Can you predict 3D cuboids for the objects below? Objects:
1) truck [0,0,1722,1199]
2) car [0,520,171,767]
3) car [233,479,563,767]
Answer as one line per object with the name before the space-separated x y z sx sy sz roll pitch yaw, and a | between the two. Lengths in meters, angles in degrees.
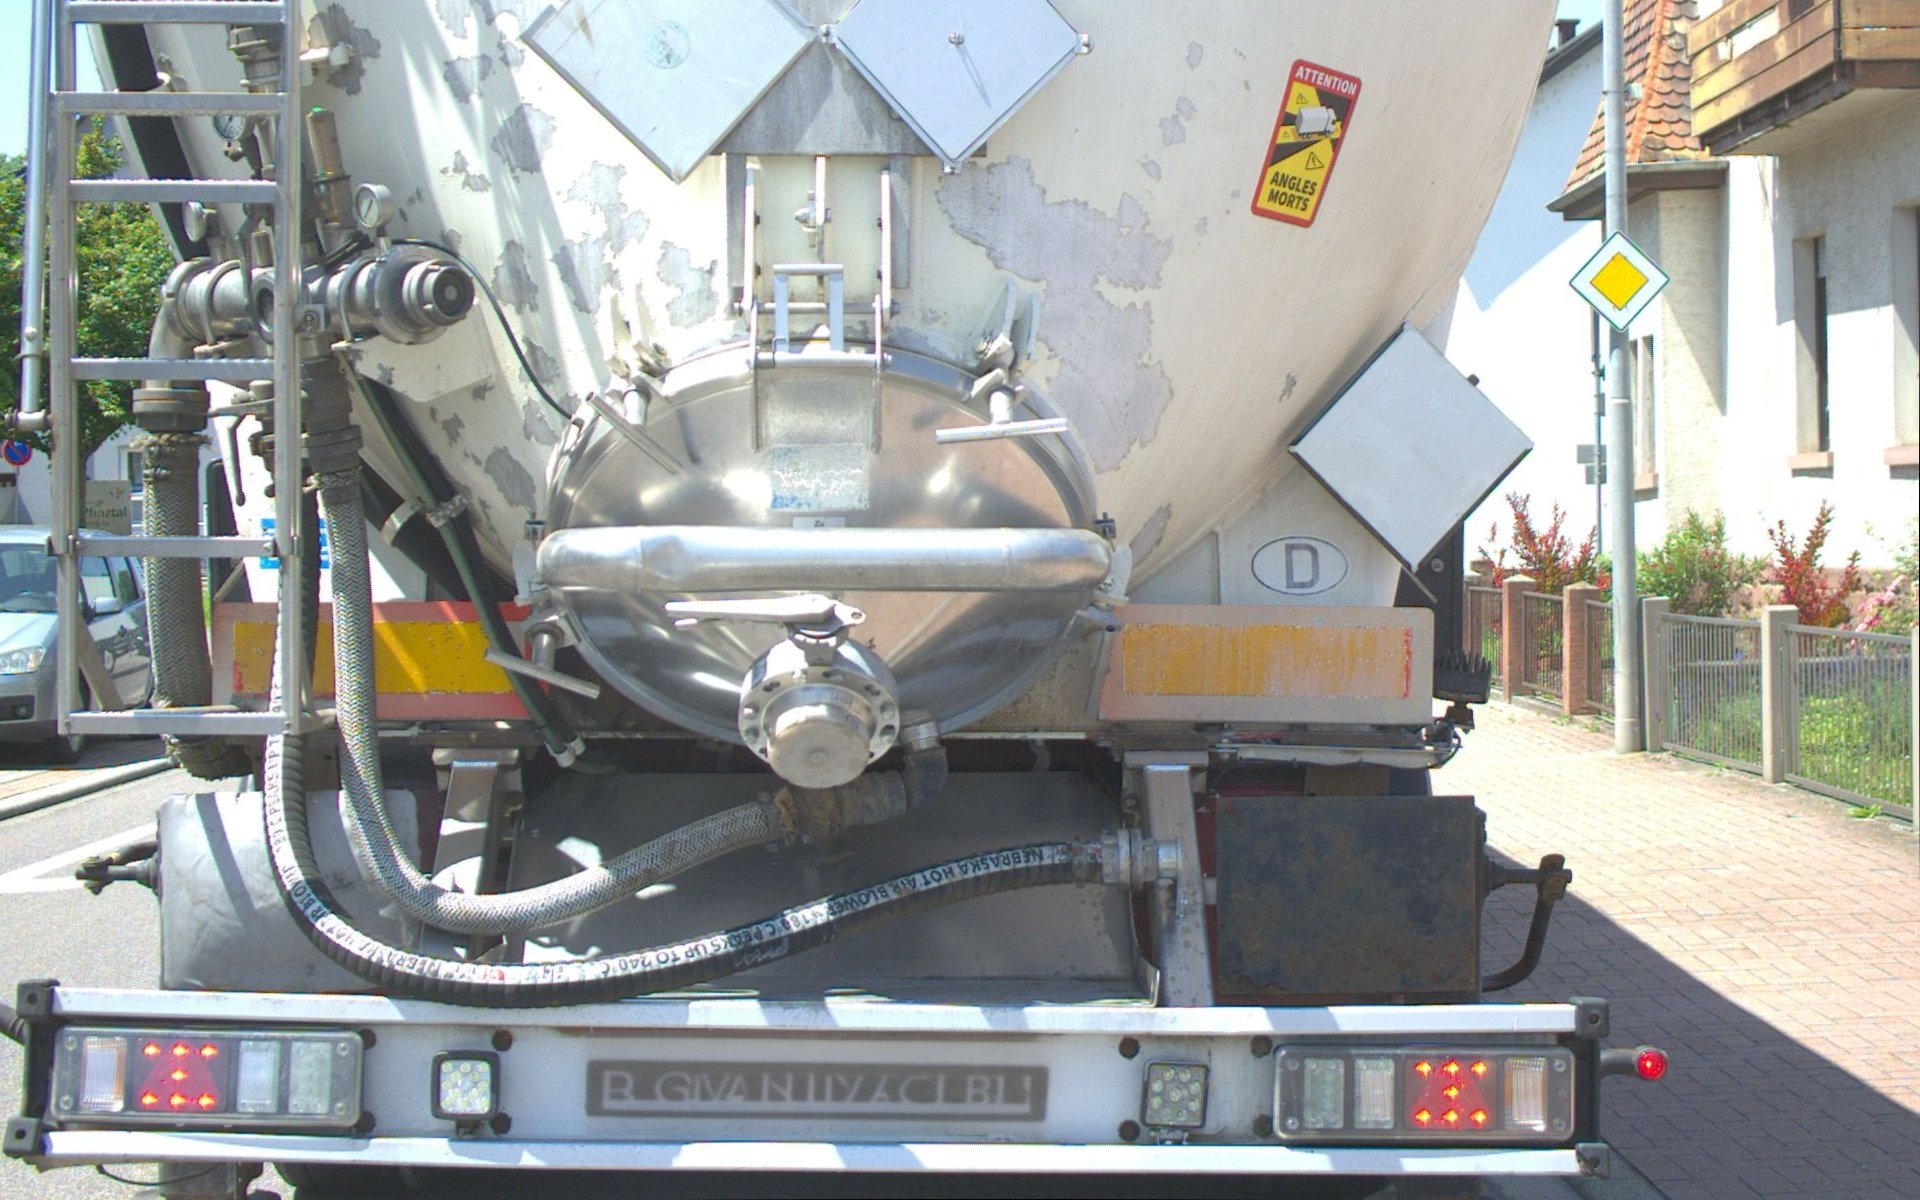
truck | -0.280 -0.748 9.636 2.641 4.002 9.562 0 1 0
car | -6.745 0.234 23.951 1.697 1.575 3.838 0 1 -1
car | -3.982 0.101 25.023 1.655 1.848 4.464 -2 1 -1
